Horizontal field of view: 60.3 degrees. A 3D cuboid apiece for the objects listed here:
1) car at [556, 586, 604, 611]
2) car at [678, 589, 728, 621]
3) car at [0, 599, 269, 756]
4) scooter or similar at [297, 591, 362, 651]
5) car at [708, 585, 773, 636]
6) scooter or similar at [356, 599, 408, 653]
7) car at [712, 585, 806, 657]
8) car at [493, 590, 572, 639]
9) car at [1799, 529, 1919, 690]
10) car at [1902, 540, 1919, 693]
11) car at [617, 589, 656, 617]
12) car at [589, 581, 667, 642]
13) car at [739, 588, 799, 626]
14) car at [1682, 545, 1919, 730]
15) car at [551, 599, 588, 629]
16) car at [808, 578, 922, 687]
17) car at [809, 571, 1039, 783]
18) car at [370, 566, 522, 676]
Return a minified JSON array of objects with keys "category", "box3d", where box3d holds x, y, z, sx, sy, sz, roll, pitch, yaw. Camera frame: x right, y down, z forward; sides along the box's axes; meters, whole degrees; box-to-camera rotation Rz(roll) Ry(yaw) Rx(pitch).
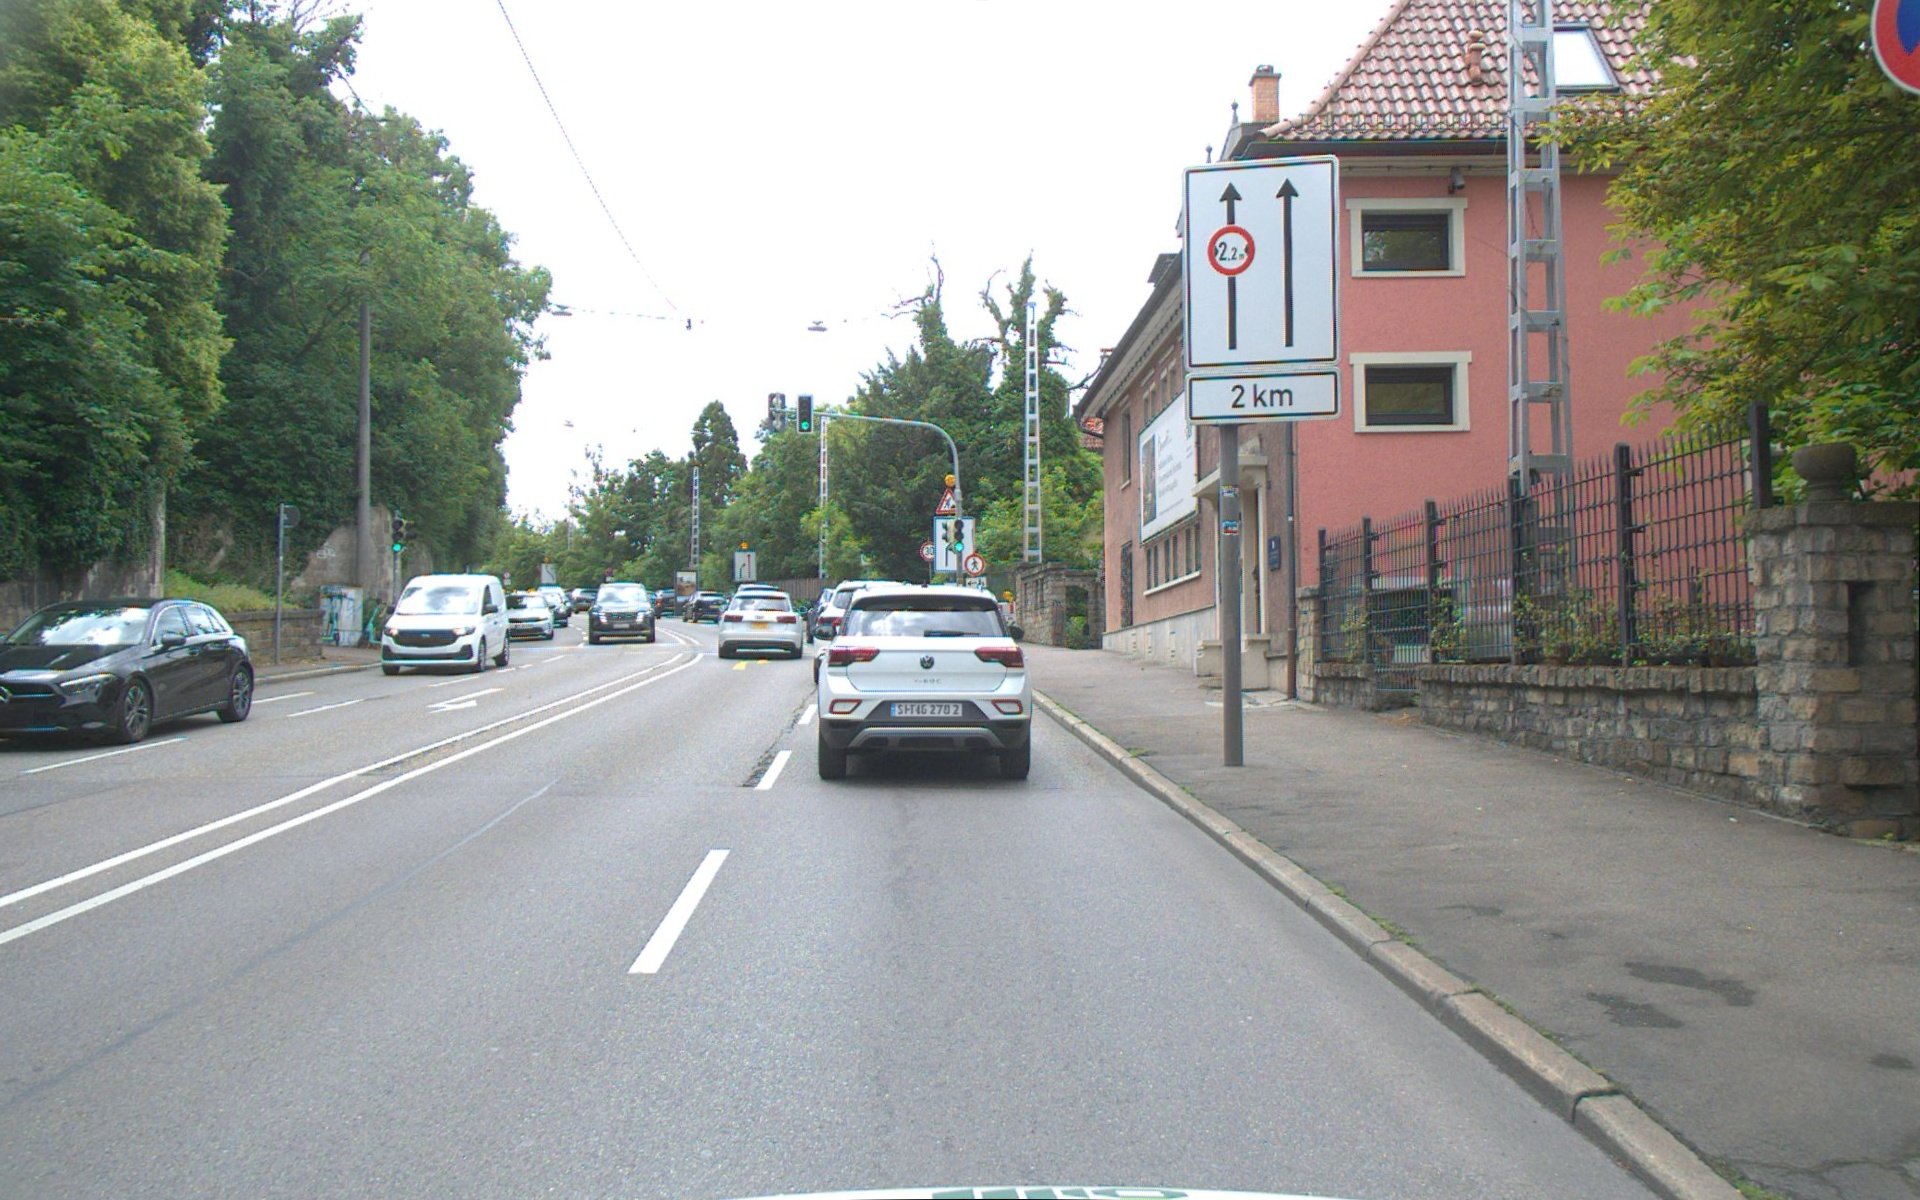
[{"category":"car","box3d":[-25.206,-0.051,109.752,1.973,1.603,4.107,0,-1,-31]},{"category":"car","box3d":[-12.207,0.271,78.381,1.960,1.475,4.135,0,-1,-14]},{"category":"car","box3d":[-8.897,0.735,17.441,1.531,1.426,4.252,-2,0,-2]},{"category":"scooter or similar","box3d":[-15.109,0.513,39.660,0.425,1.259,1.347,4,-5,31]},{"category":"car","box3d":[-7.221,0.329,54.734,1.955,1.583,4.146,1,0,-5]},{"category":"scooter or similar","box3d":[-14.285,0.649,40.881,0.426,1.259,1.093,3,-2,38]},{"category":"car","box3d":[-4.561,0.471,37.208,1.727,1.497,3.783,1,-1,-12]},{"category":"car","box3d":[-13.456,0.422,52.258,1.682,1.427,4.020,-1,1,-4]},{"category":"car","box3d":[10.912,0.138,18.532,1.406,1.712,3.144,1,-2,-1]},{"category":"car","box3d":[10.612,0.180,14.932,1.953,1.533,4.000,0,1,0]},{"category":"car","box3d":[-17.258,0.175,88.002,1.751,1.480,3.983,1,-1,-15]},{"category":"car","box3d":[-9.490,0.308,47.548,1.813,1.661,4.355,0,0,-6]},{"category":"car","box3d":[-7.632,0.298,65.969,1.959,1.475,4.137,0,-1,-13]},{"category":"car","box3d":[8.401,0.269,15.004,1.953,1.447,4.000,0,1,0]},{"category":"car","box3d":[-21.282,0.731,90.012,1.727,1.594,3.662,0,0,-17]},{"category":"car","box3d":[-1.526,0.518,27.318,1.722,1.638,3.793,1,-1,-2]},{"category":"car","box3d":[-0.351,0.616,14.573,1.722,1.583,3.793,1,-1,-3]},{"category":"car","box3d":[-9.787,0.404,31.823,1.856,1.880,4.391,3,-1,-6]}]
